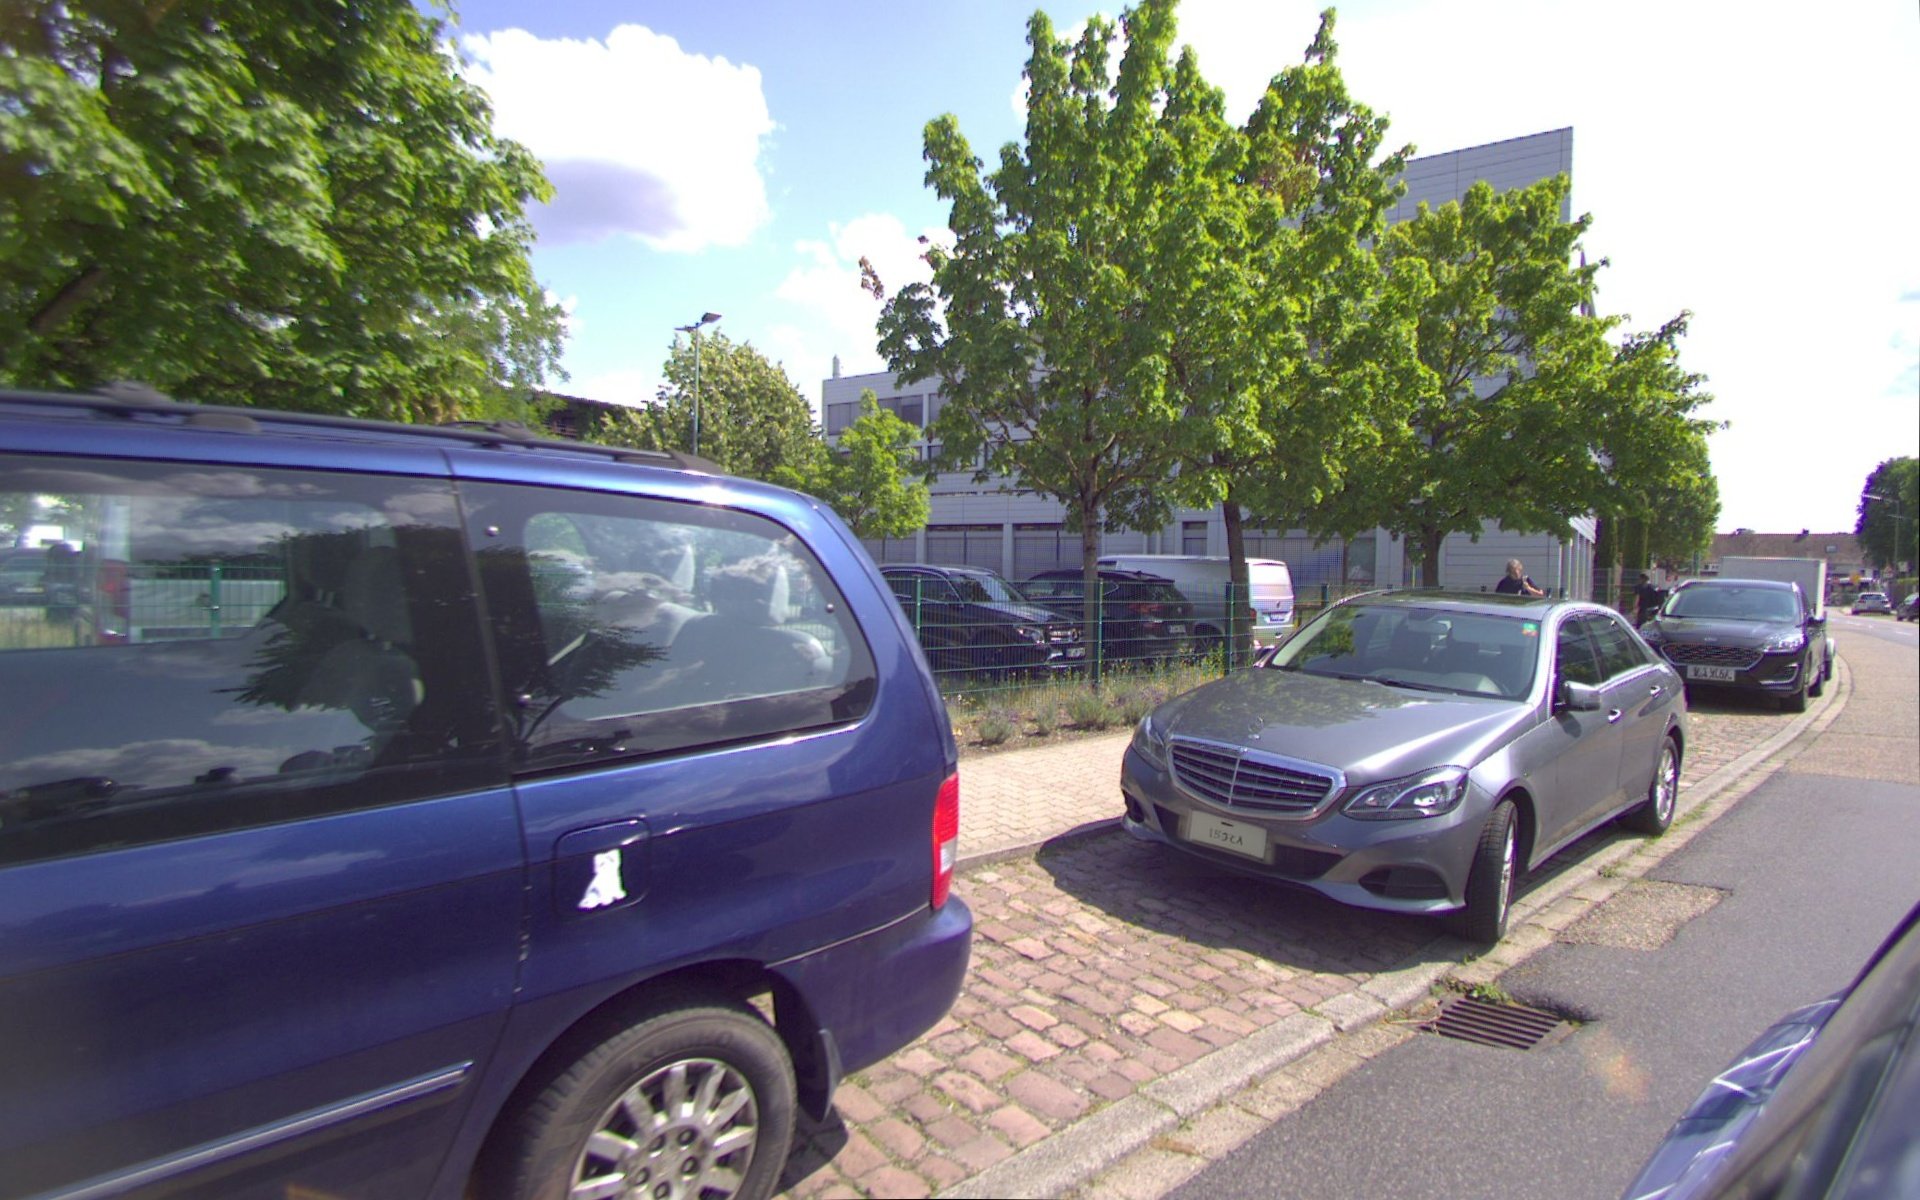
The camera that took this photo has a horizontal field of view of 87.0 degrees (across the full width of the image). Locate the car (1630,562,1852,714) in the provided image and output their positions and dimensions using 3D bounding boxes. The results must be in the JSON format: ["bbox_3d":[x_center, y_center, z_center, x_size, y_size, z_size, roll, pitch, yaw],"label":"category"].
[{"bbox_3d":[11.068,0.398,14.210,1.862,1.702,4.635,5,5,44],"label":"car"}]

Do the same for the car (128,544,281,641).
[{"bbox_3d":[-12.865,-0.192,17.135,1.772,1.440,3.994,0,2,-41],"label":"car"}]

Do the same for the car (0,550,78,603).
[{"bbox_3d":[-26.187,-0.689,28.534,1.866,1.391,3.996,-1,2,-39],"label":"car"}]

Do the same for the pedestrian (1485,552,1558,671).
[{"bbox_3d":[8.488,0.155,15.304,0.721,1.714,0.728,5,4,43],"label":"pedestrian"}]

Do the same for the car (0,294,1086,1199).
[{"bbox_3d":[-2.189,0.454,1.676,4.989,1.787,1.854,-1,4,-41],"label":"car"}]

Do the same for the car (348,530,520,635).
[{"bbox_3d":[-10.385,-0.401,19.769,1.882,1.788,4.859,0,2,-41],"label":"car"}]

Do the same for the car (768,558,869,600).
[{"bbox_3d":[-5.613,-0.876,40.657,1.942,1.566,3.955,0,2,32],"label":"car"}]

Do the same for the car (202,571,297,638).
[{"bbox_3d":[-16.367,0.039,23.242,1.457,1.391,3.995,-1,2,-40],"label":"car"}]

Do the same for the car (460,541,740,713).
[{"bbox_3d":[-4.316,0.183,11.775,1.665,1.656,3.993,0,2,-42],"label":"car"}]

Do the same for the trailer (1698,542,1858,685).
[{"bbox_3d":[14.036,0.144,17.289,1.746,2.092,3.886,6,5,43],"label":"trailer"}]

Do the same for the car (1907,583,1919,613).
[{"bbox_3d":[50.548,-0.091,52.392,1.558,1.534,3.986,3,2,34],"label":"car"}]

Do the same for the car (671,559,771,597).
[{"bbox_3d":[-10.225,-0.974,43.516,1.943,1.566,3.953,0,2,34],"label":"car"}]

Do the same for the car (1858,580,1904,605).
[{"bbox_3d":[60.044,-0.503,66.017,1.667,1.534,3.697,3,2,34],"label":"car"}]

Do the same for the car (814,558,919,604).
[{"bbox_3d":[-3.512,-0.773,38.691,1.944,1.671,3.953,1,2,34],"label":"car"}]

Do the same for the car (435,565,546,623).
[{"bbox_3d":[-12.354,-0.217,26.506,1.688,1.391,3.995,-1,2,-40],"label":"car"}]

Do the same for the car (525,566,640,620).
[{"bbox_3d":[-10.662,-0.253,28.456,1.806,1.391,3.995,-1,2,-40],"label":"car"}]

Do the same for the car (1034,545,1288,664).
[{"bbox_3d":[3.784,-0.032,19.654,4.471,1.990,1.968,4,4,45],"label":"car"}]

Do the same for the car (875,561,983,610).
[{"bbox_3d":[-1.057,-0.577,37.440,1.723,1.701,4.479,0,1,34],"label":"car"}]

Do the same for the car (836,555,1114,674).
[{"bbox_3d":[0.116,0.166,15.893,4.326,1.615,1.827,0,1,44],"label":"car"}]

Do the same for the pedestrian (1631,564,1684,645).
[{"bbox_3d":[15.096,0.094,21.908,0.727,1.666,0.571,7,4,42],"label":"pedestrian"}]

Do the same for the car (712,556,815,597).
[{"bbox_3d":[-8.067,-0.996,41.860,1.943,1.566,3.953,0,2,34],"label":"car"}]

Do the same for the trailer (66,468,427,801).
[{"bbox_3d":[-6.530,0.115,8.961,2.026,2.108,5.055,-1,2,-42],"label":"trailer"}]

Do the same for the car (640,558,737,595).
[{"bbox_3d":[-12.161,-1.095,45.531,1.943,1.566,3.953,0,2,34],"label":"car"}]

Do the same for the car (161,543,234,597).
[{"bbox_3d":[-26.906,-1.021,35.713,1.964,1.792,3.997,-1,1,-38],"label":"car"}]

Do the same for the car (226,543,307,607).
[{"bbox_3d":[-30.541,-1.051,44.459,2.698,2.631,5.795,-1,1,-37],"label":"car"}]

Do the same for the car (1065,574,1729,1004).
[{"bbox_3d":[2.902,0.643,5.997,4.788,1.478,1.844,-1,4,-44],"label":"car"}]
